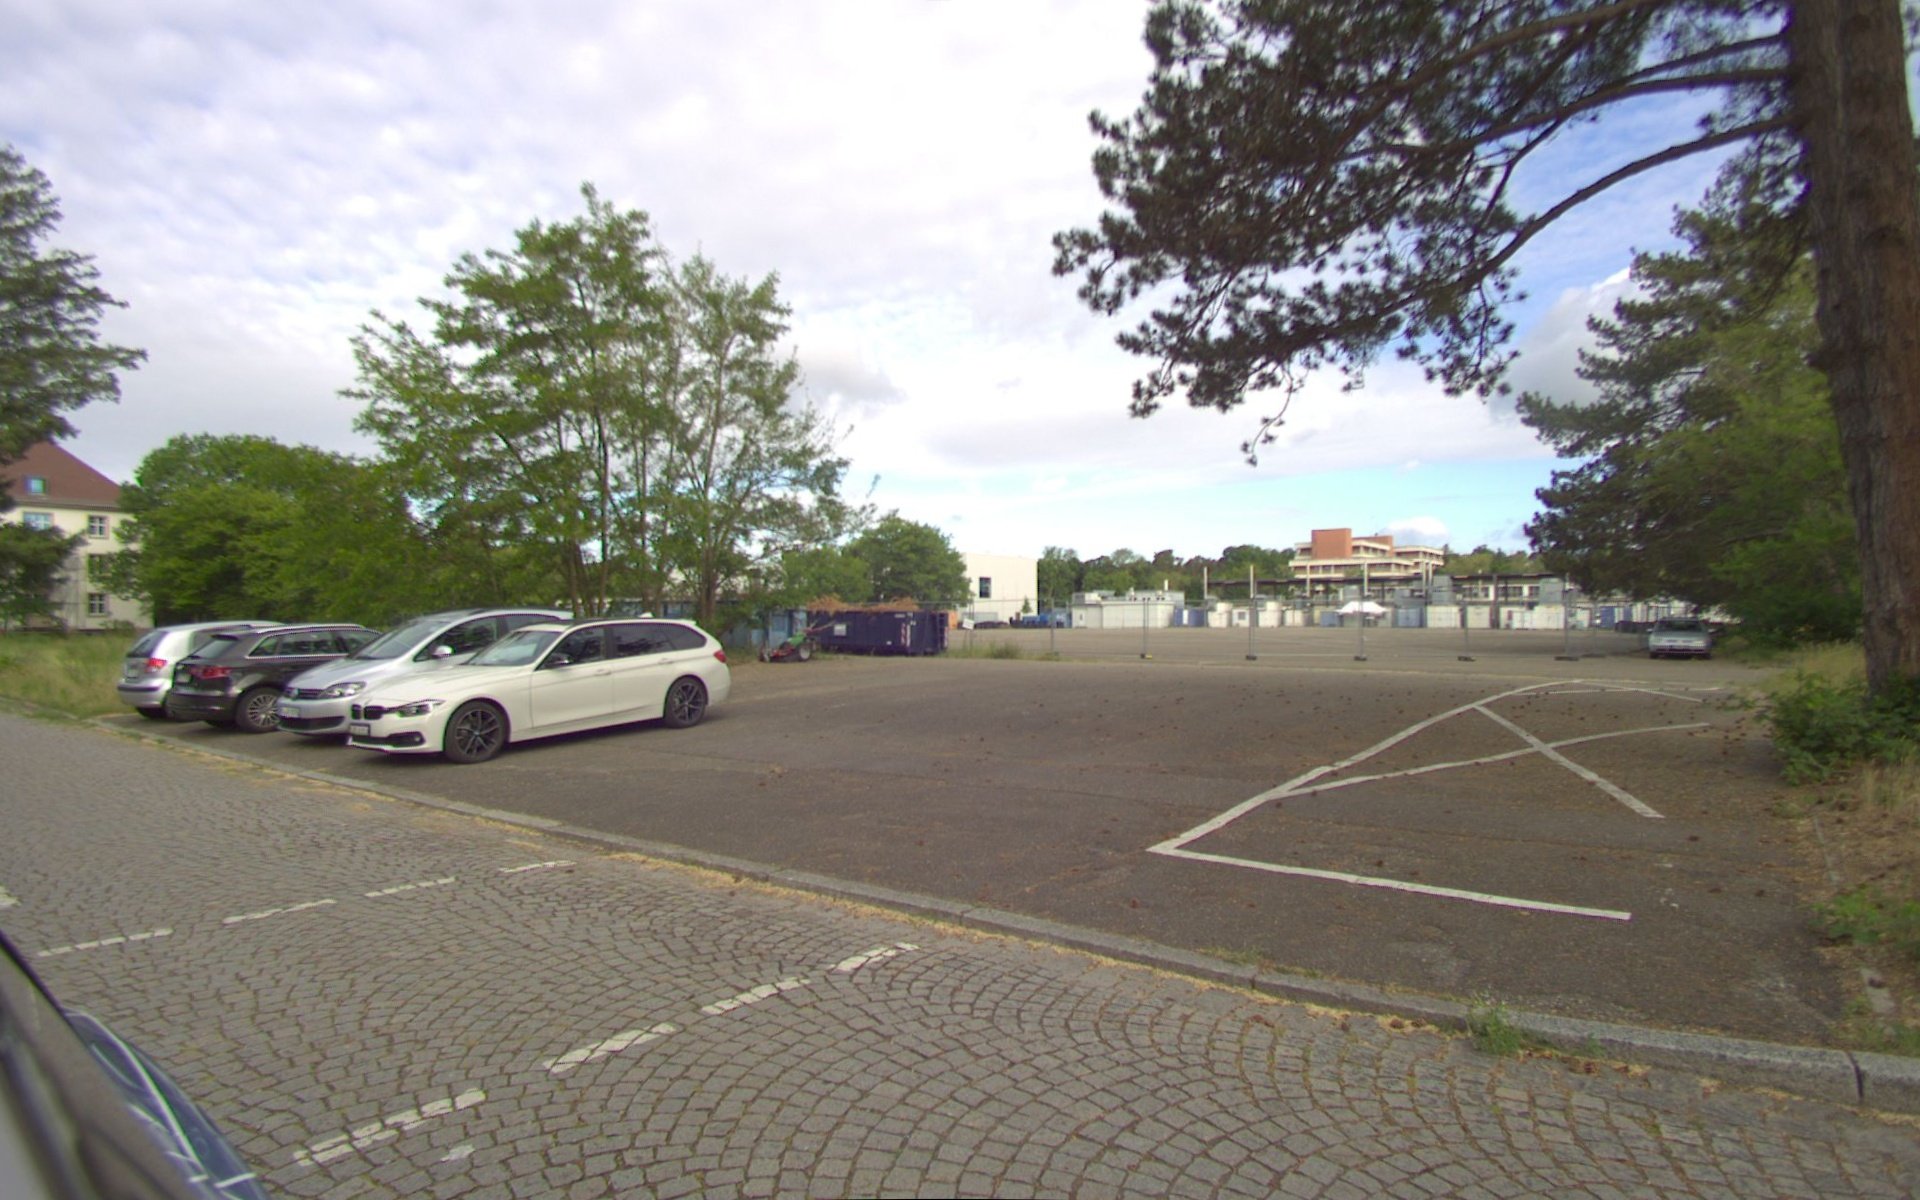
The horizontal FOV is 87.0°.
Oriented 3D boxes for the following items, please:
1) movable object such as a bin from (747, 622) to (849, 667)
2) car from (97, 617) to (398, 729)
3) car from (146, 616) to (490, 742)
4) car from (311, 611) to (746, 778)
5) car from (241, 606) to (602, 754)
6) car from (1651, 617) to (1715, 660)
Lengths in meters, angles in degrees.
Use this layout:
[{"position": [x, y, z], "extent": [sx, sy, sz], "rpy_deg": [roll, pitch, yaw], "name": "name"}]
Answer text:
[{"position": [-4.431, 1.197, 27.769], "extent": [1.500, 1.170, 2.365], "rpy_deg": [-1, -2, 43], "name": "movable object such as a bin"}, {"position": [-11.607, 1.098, 16.698], "extent": [1.803, 1.463, 3.648], "rpy_deg": [-1, 1, 33], "name": "car"}, {"position": [-9.386, 1.057, 15.080], "extent": [1.748, 1.438, 3.951], "rpy_deg": [-1, 1, 37], "name": "car"}, {"position": [-4.943, 0.958, 12.295], "extent": [1.797, 1.454, 4.609], "rpy_deg": [-1, 1, 34], "name": "car"}, {"position": [-7.069, 0.933, 13.676], "extent": [1.719, 1.559, 3.955], "rpy_deg": [-1, 1, 33], "name": "car"}, {"position": [25.228, 1.304, 35.314], "extent": [1.694, 1.403, 3.951], "rpy_deg": [-1, -1, 36], "name": "car"}]
